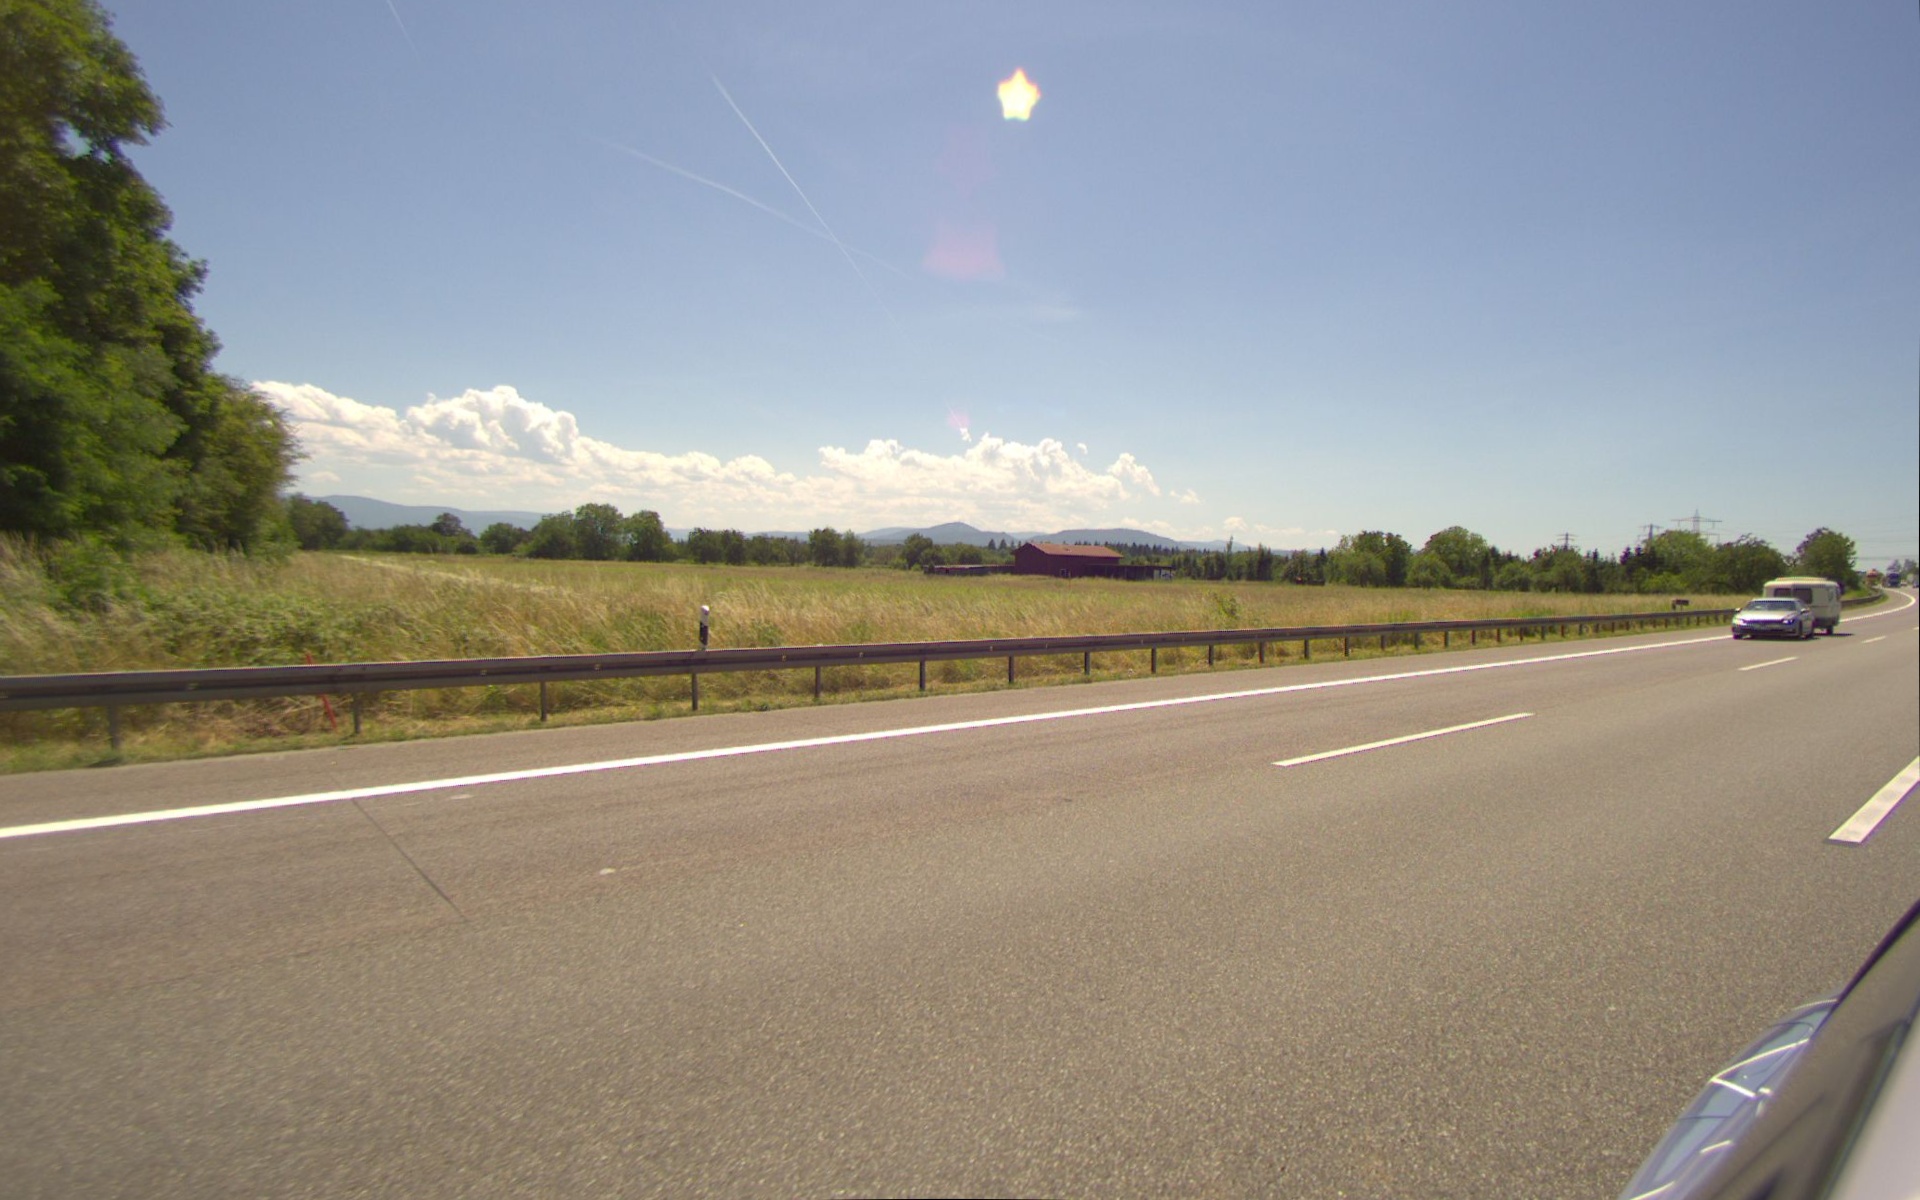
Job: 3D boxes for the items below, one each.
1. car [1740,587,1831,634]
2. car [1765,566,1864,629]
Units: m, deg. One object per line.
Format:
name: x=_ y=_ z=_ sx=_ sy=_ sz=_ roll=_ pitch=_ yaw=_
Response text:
car: x=28.522 y=0.317 z=34.926 sx=3.931 sy=1.494 sz=1.783 roll=-1 pitch=2 yaw=-41
car: x=33.196 y=-0.136 z=39.271 sx=4.865 sy=2.294 sz=2.186 roll=-1 pitch=2 yaw=-41
